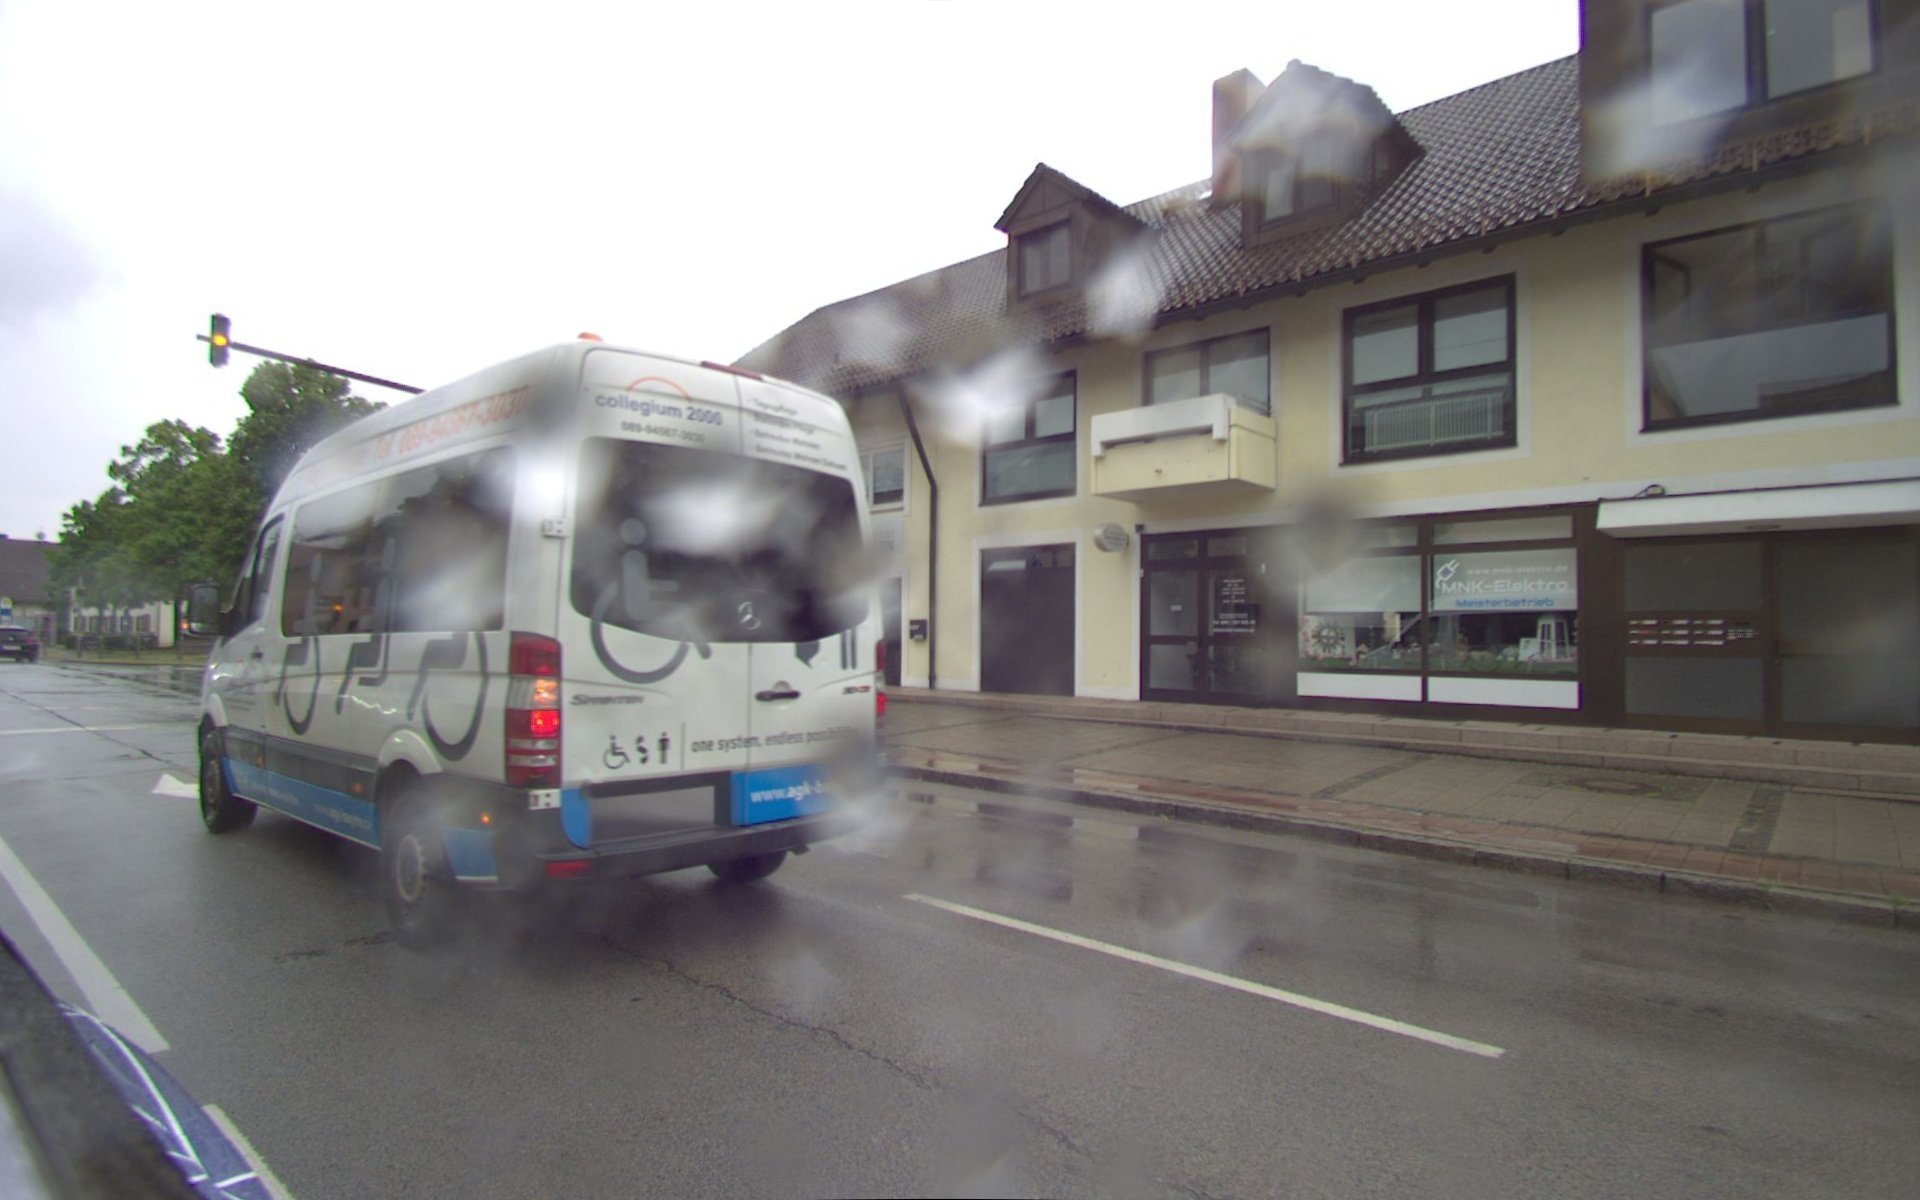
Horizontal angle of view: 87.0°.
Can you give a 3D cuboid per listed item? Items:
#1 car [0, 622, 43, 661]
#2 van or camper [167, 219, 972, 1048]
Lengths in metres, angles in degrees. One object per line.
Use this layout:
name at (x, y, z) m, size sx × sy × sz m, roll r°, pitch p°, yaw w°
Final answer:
car at (-37.033, 1.572, 39.051) m, size 3.882 × 1.418 × 1.975 m, roll -1°, pitch -4°, yaw 42°
van or camper at (-2.937, 0.173, 6.241) m, size 6.268 × 2.728 × 2.071 m, roll -1°, pitch -3°, yaw 43°
